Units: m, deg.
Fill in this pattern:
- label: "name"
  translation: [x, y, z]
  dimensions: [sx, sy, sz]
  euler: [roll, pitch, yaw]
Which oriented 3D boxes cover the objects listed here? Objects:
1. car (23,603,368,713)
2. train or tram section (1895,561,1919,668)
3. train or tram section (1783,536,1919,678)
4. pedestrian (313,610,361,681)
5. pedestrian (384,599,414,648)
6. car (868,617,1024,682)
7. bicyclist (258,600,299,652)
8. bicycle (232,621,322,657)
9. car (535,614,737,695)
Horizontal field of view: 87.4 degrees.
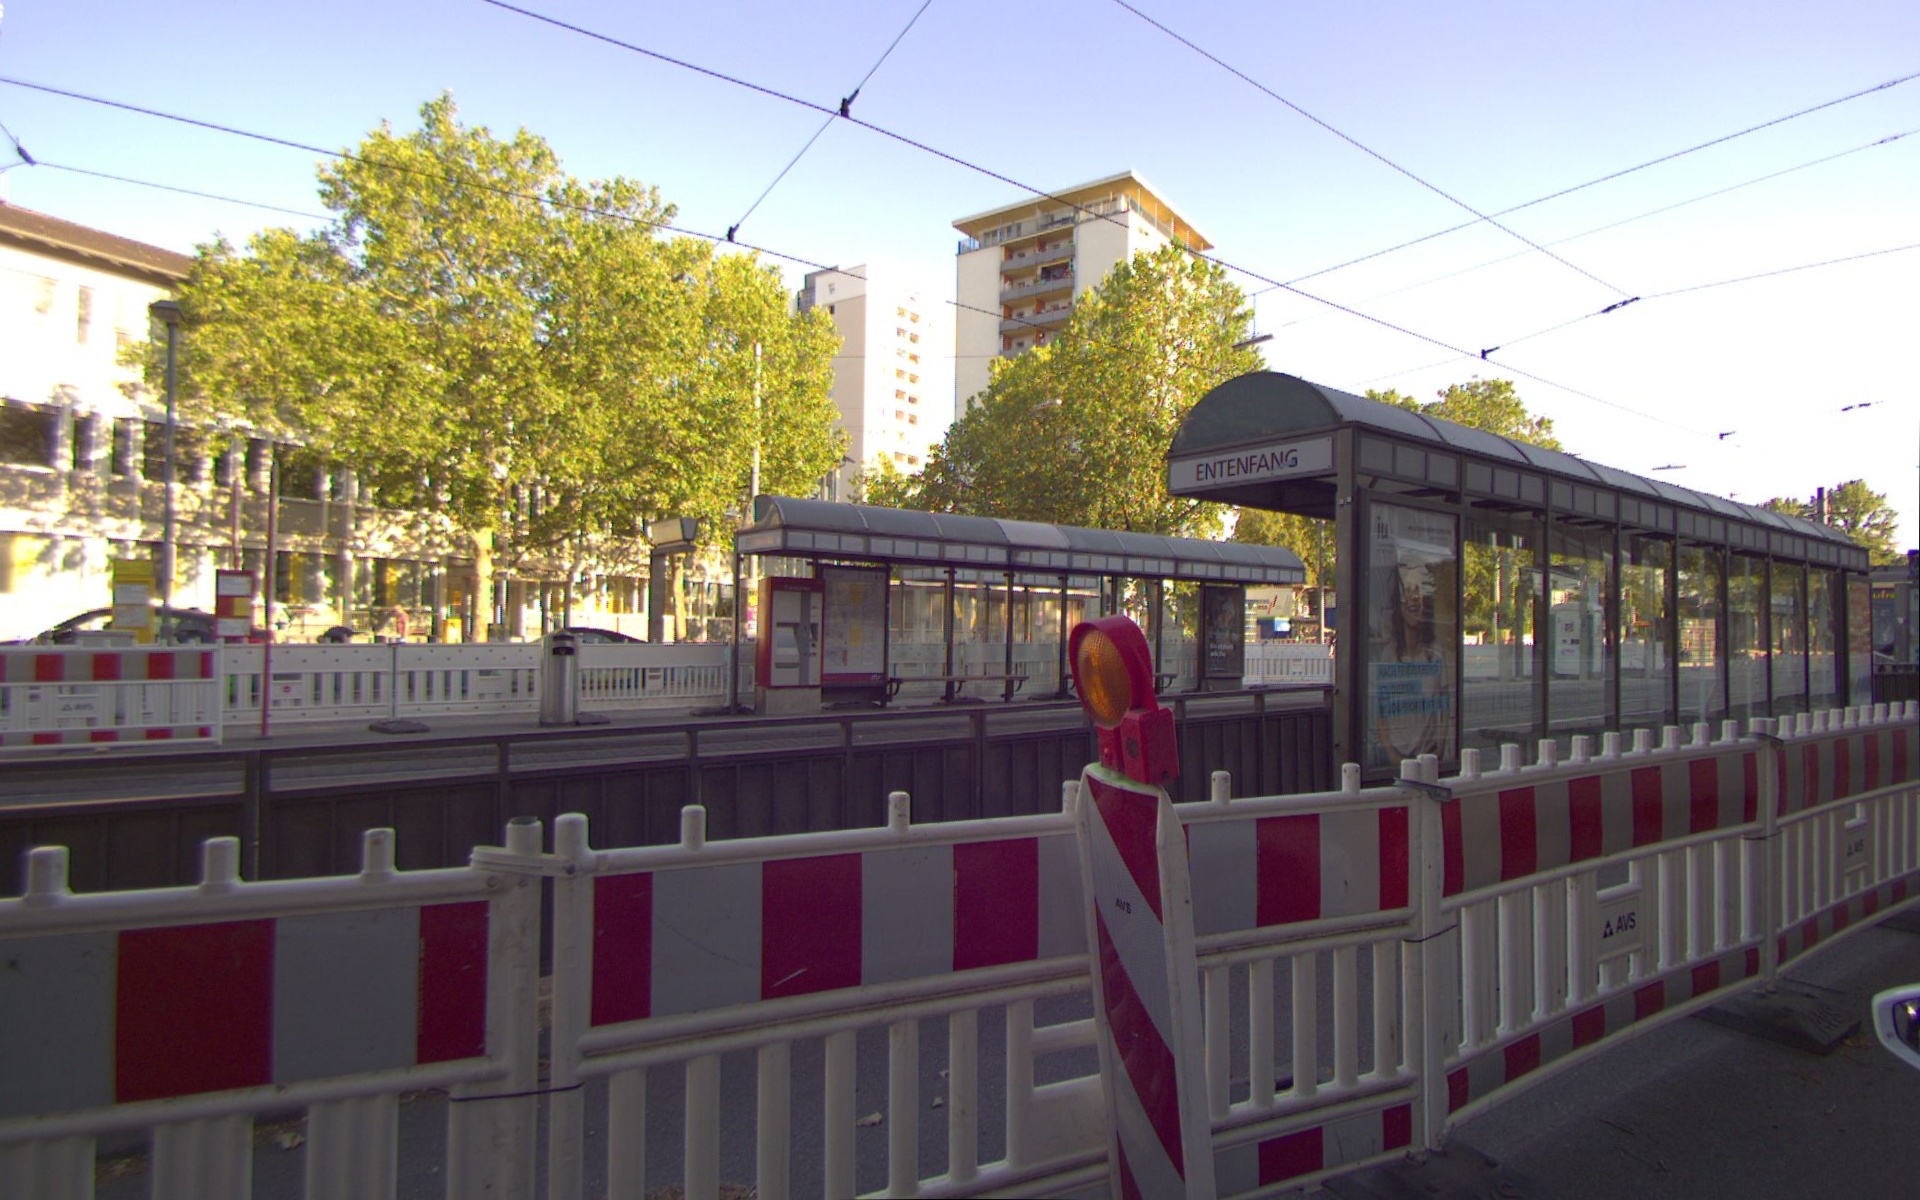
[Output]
- label: "car"
  translation: [-12.952, 0.962, 17.446]
  dimensions: [4.511, 1.683, 1.982]
  euler: [2, -2, -34]
- label: "train or tram section"
  translation: [37.329, 0.656, 36.783]
  dimensions: [11.477, 3.606, 2.666]
  euler: [2, 0, -38]
- label: "train or tram section"
  translation: [28.055, 0.314, 29.815]
  dimensions: [11.657, 3.580, 2.668]
  euler: [2, 0, -36]
- label: "pedestrian"
  translation: [-16.502, 1.198, 26.602]
  dimensions: [0.921, 1.858, 0.691]
  euler: [2, -2, -43]
- label: "pedestrian"
  translation: [-16.990, 0.707, 30.412]
  dimensions: [0.577, 1.474, 0.583]
  euler: [0, -2, 38]
- label: "car"
  translation: [-0.367, 1.350, 28.020]
  dimensions: [3.959, 1.683, 1.901]
  euler: [2, -2, -35]
- label: "bicyclist"
  translation: [-20.702, 0.801, 30.509]
  dimensions: [0.565, 1.547, 0.844]
  euler: [0, -1, 28]
- label: "bicycle"
  translation: [-20.727, 1.187, 30.528]
  dimensions: [0.666, 1.045, 2.187]
  euler: [0, -2, 29]
- label: "car"
  translation: [-7.272, 1.194, 22.619]
  dimensions: [3.958, 1.683, 1.982]
  euler: [2, -2, -33]
